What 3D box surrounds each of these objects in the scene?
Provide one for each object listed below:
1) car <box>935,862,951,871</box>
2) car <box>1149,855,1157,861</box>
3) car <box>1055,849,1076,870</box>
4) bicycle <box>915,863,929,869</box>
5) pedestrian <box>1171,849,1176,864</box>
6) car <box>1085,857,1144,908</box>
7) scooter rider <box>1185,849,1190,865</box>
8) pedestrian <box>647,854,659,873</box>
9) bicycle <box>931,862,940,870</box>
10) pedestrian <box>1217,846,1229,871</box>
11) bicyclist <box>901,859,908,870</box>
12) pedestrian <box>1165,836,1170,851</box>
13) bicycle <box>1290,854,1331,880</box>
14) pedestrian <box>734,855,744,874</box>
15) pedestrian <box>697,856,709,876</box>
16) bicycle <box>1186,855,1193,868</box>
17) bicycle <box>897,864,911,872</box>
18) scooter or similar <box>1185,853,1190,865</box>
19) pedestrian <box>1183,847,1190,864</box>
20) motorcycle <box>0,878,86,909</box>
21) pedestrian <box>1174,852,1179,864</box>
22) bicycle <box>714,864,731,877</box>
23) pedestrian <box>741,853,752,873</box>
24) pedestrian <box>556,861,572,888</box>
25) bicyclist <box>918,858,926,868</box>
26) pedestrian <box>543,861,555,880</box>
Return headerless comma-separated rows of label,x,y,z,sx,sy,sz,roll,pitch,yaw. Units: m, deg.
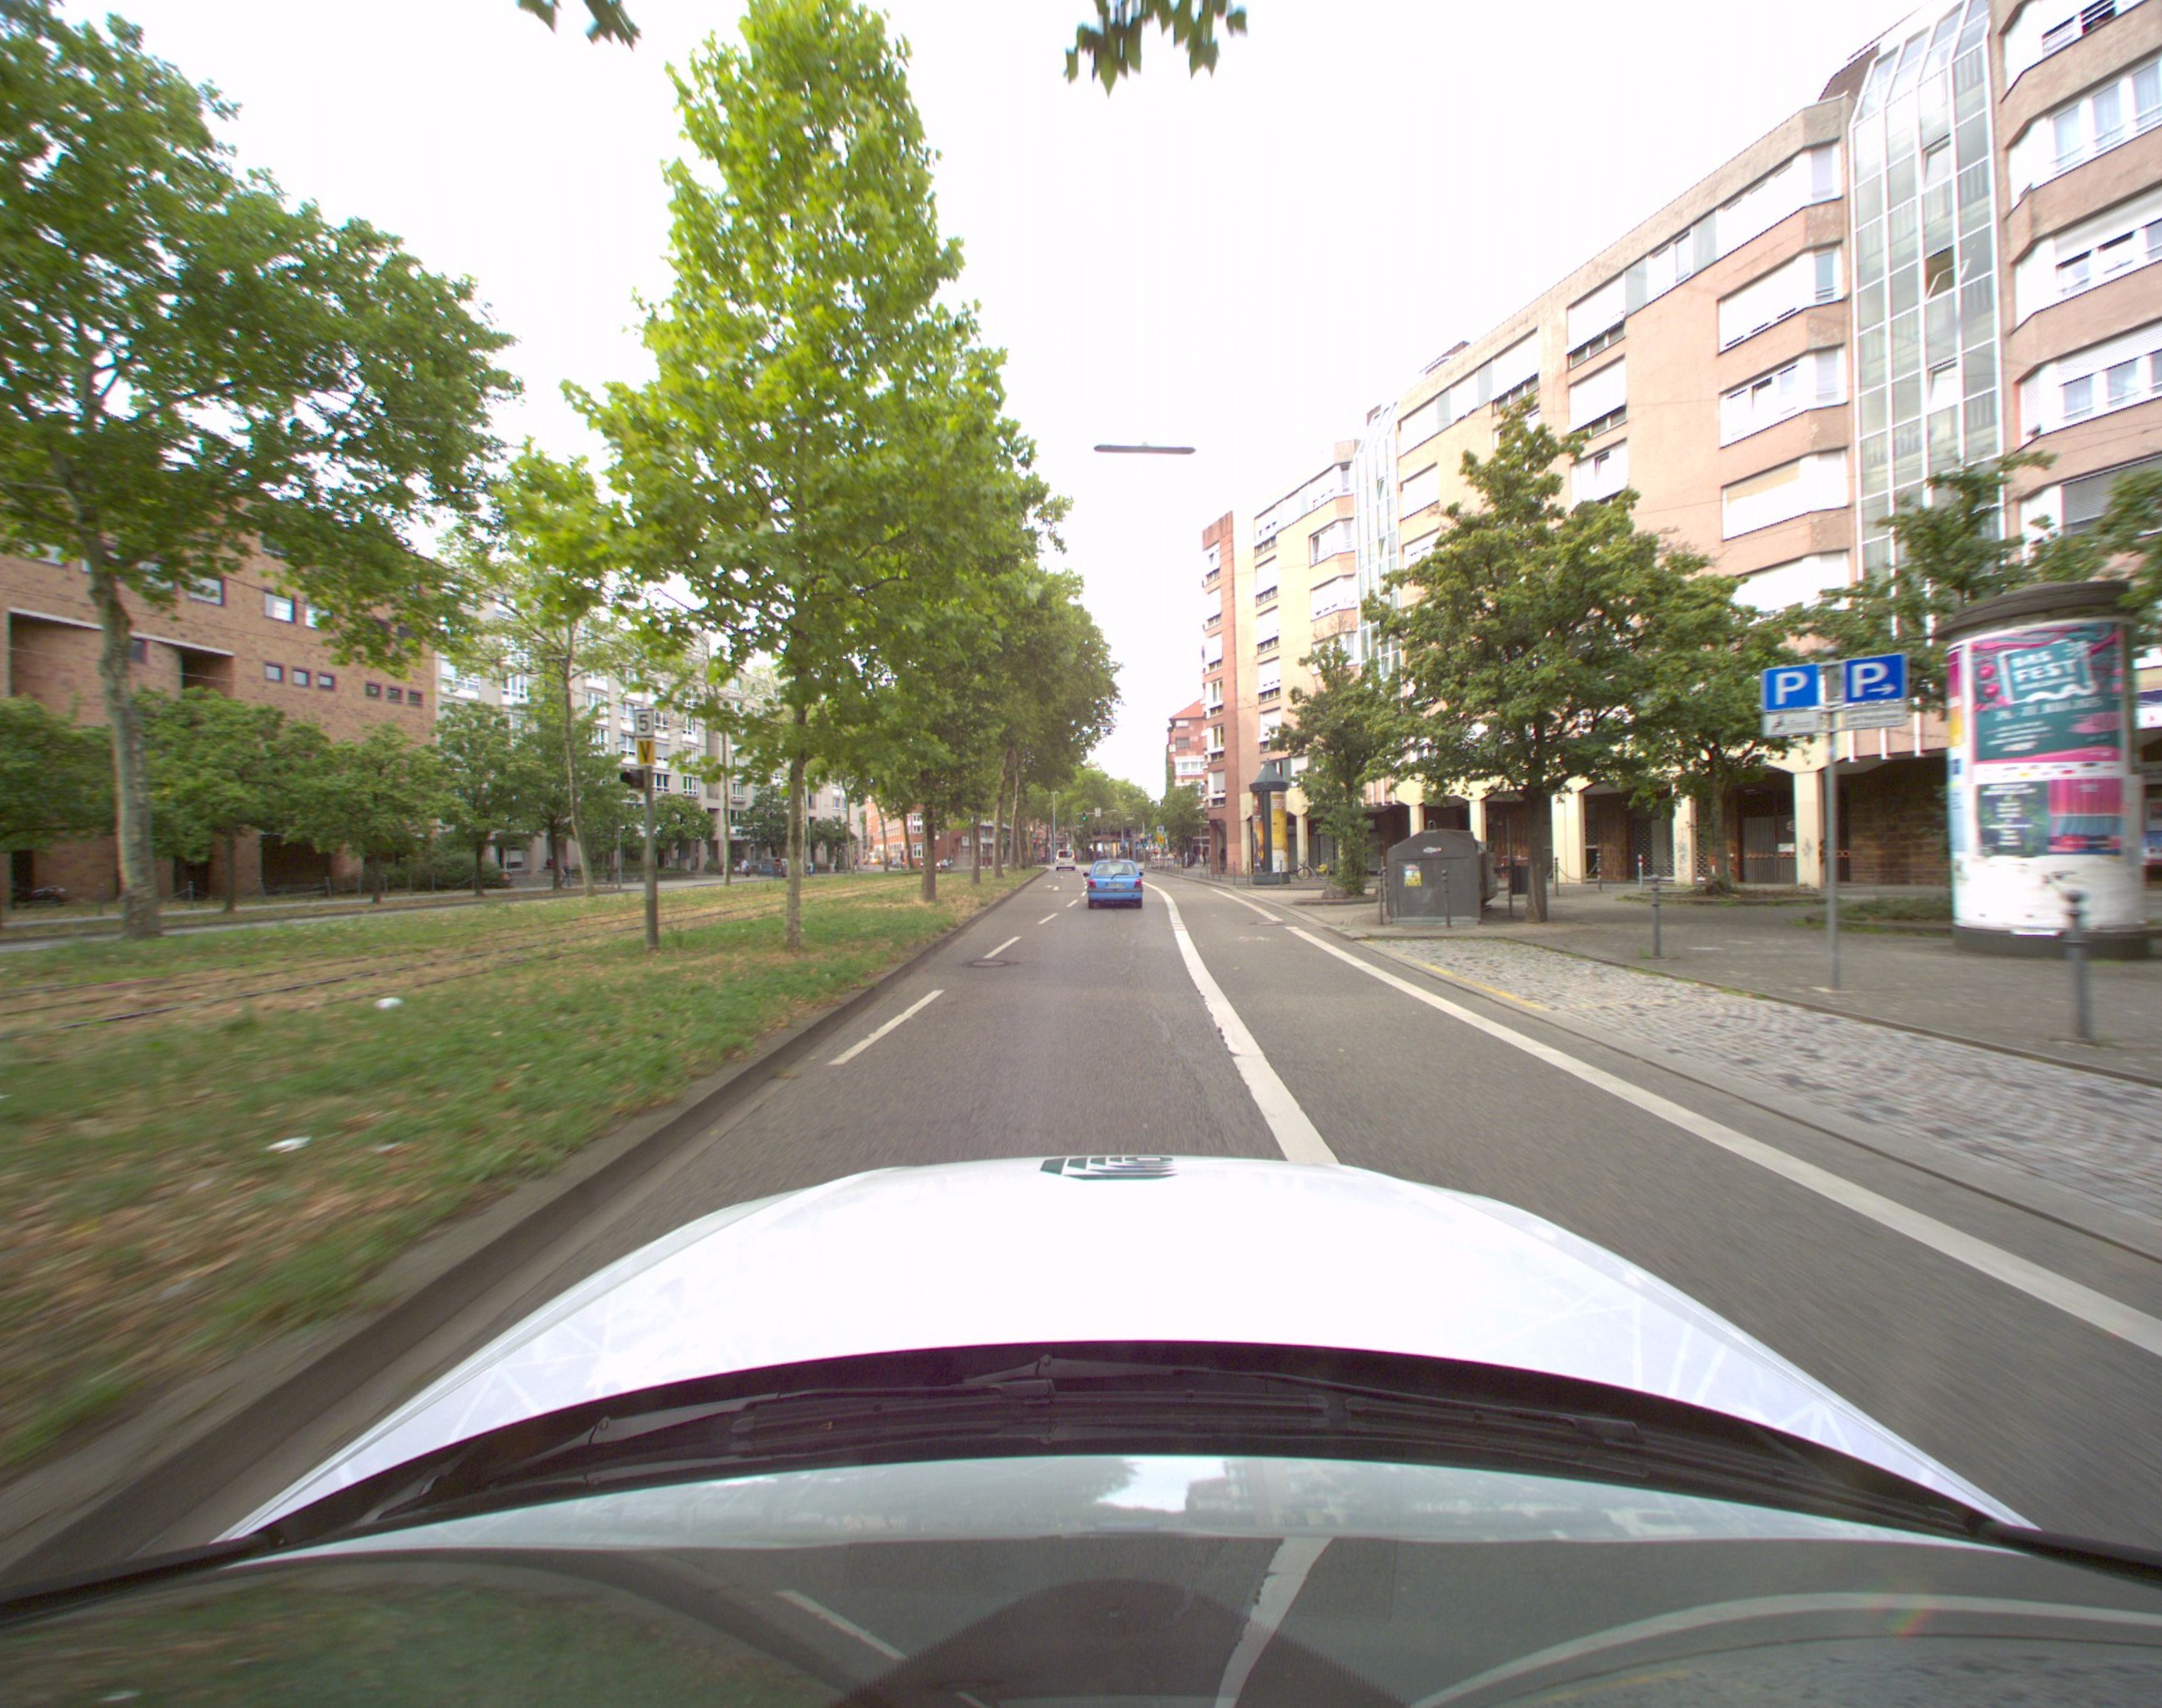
car,-20.826,1.935,123.119,1.724,1.245,4.532,-1,0,-1
car,19.965,1.118,225.182,1.874,1.624,4.013,-1,0,11
car,-1.444,0.528,78.734,1.926,1.925,4.954,-1,0,0
bicycle,-23.973,1.791,123.031,1.997,0.836,0.572,-1,0,-37
pedestrian,10.182,0.247,90.001,0.514,1.616,0.852,-1,0,6
car,0.942,0.805,24.496,1.635,1.386,3.842,-1,0,0
scooter rider,10.664,0.313,81.557,0.458,1.557,0.565,-1,-1,3
pedestrian,-38.186,0.870,72.638,0.633,1.672,0.661,-1,0,8
bicycle,-22.529,1.846,125.893,0.686,1.092,1.883,-1,0,12
pedestrian,9.253,0.288,53.112,0.539,1.650,0.830,-1,0,23
bicyclist,-25.445,1.523,117.137,0.788,1.673,0.567,-1,-1,-37
pedestrian,9.568,-1.123,90.479,0.514,1.616,0.852,-1,0,5
bicycle,10.576,0.603,37.537,1.644,1.129,0.674,-3,-1,41
pedestrian,-30.008,0.921,71.441,0.550,1.705,0.627,-1,0,4
pedestrian,-35.106,1.091,75.679,0.765,1.809,0.694,-1,0,9
bicycle,9.779,0.654,73.508,0.609,1.118,1.808,-1,0,7
bicycle,-25.463,1.975,117.123,1.886,1.092,0.571,-1,0,-38
scooter or similar,10.696,0.468,81.898,0.471,1.206,1.332,-1,0,6
pedestrian,11.844,0.190,91.375,0.673,1.828,0.852,-1,0,6
motorcycle,-43.553,1.650,34.144,2.200,1.191,0.791,-1,0,-24
pedestrian,12.439,0.535,105.980,0.672,1.538,0.949,-1,-1,7
bicycle,-33.487,1.540,76.152,0.530,1.212,1.843,-1,0,7
pedestrian,-29.319,0.753,71.409,0.550,1.705,0.885,-1,0,4
pedestrian,-32.741,1.309,51.537,0.550,1.705,0.627,-1,0,4
bicyclist,-24.053,1.350,123.000,1.039,1.562,0.576,-1,-1,-37
pedestrian,-38.042,1.167,58.236,0.454,1.323,0.556,-1,0,11
